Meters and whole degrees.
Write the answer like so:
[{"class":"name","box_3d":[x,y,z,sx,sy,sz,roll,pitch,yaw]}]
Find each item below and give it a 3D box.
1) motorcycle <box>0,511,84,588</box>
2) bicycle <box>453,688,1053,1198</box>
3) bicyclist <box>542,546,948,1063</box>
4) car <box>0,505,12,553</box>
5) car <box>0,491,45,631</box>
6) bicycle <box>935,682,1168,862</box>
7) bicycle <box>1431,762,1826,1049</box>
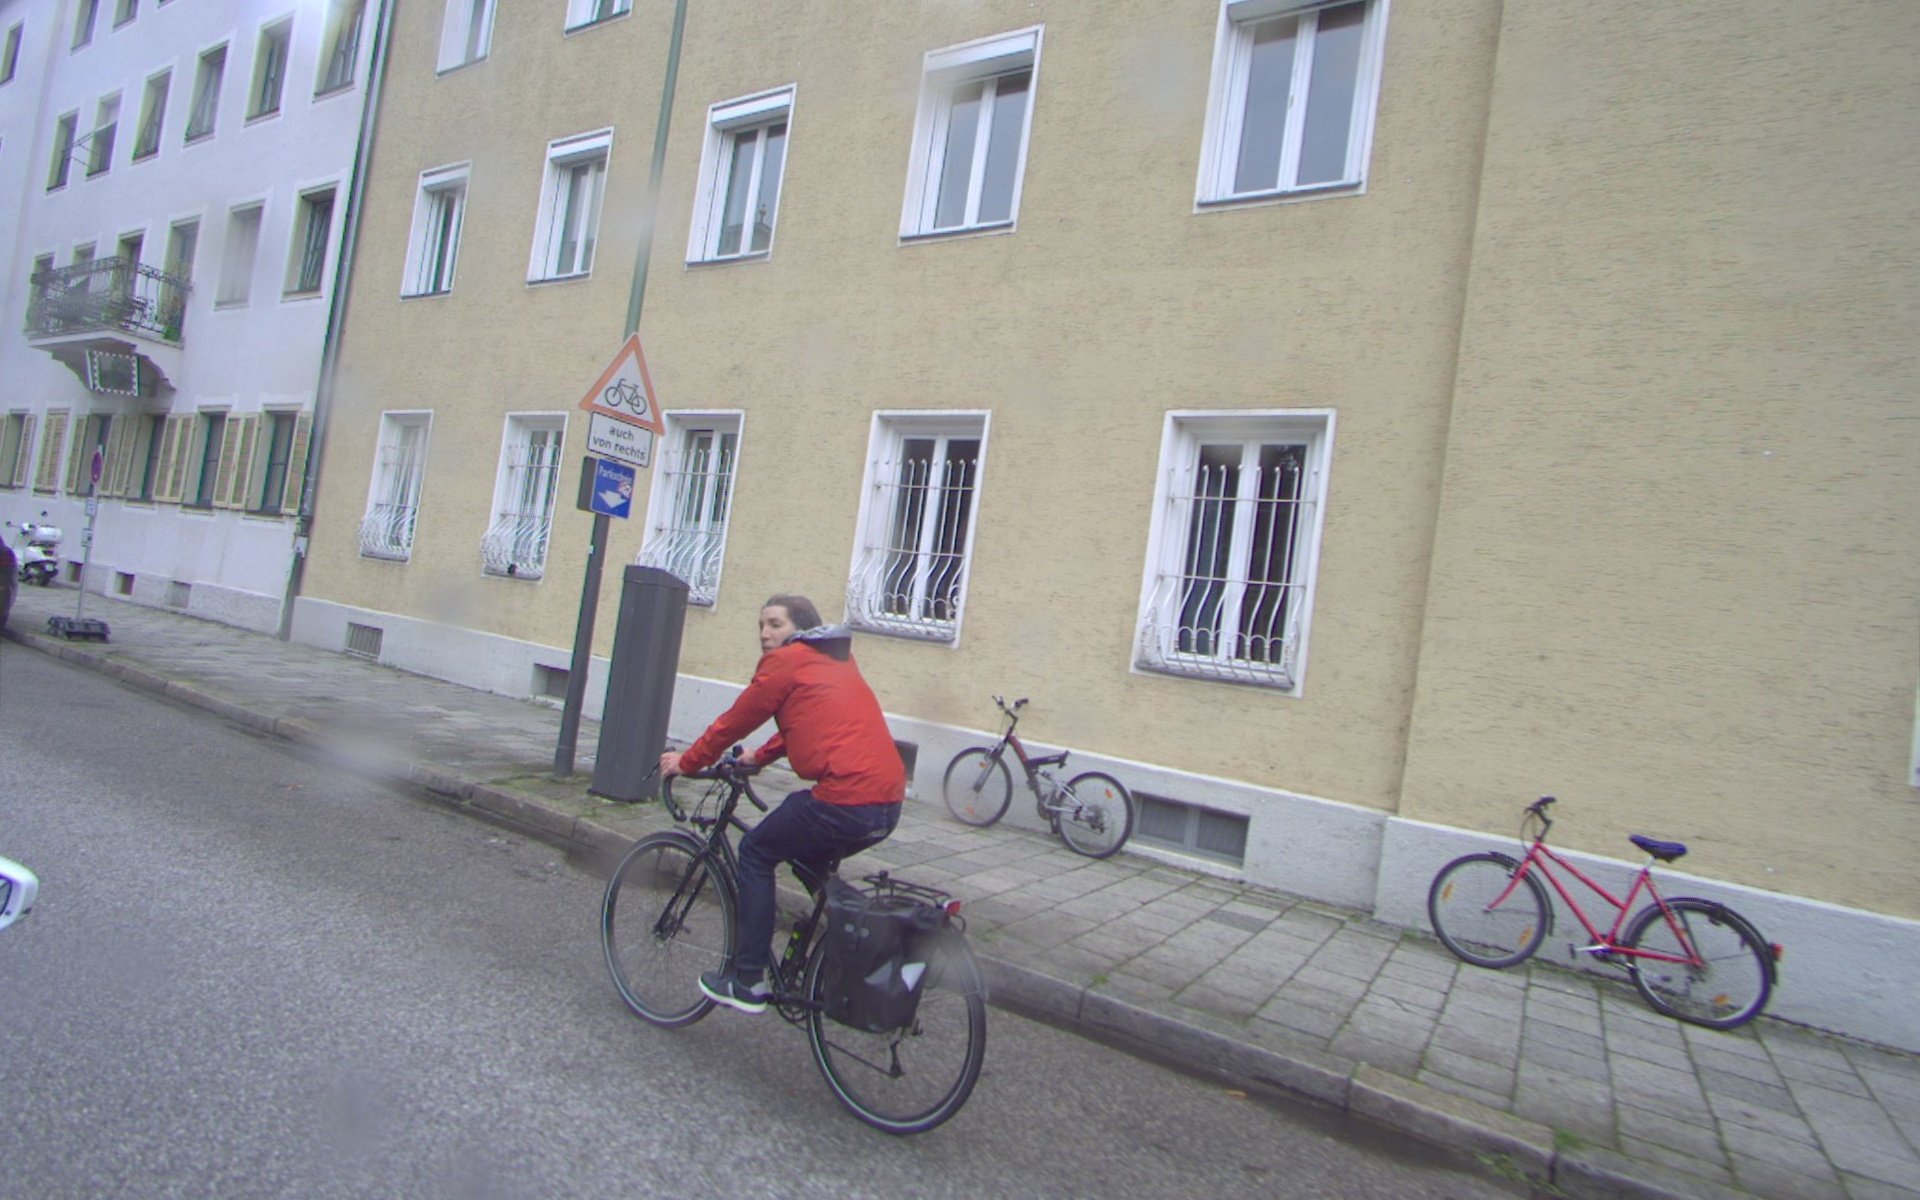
[{"class":"motorcycle","box_3d":[-17.965,-0.984,19.520,1.974,1.252,0.734,6,-4,31]},{"class":"bicycle","box_3d":[-0.779,1.046,3.597,1.976,1.153,0.675,7,-4,28]},{"class":"bicyclist","box_3d":[-0.744,0.652,3.618,0.964,1.498,0.757,7,-4,27]},{"class":"car","box_3d":[-34.318,-2.772,32.536,1.881,1.549,4.917,10,-1,32]},{"class":"car","box_3d":[-13.517,-0.766,12.352,4.816,1.595,1.865,7,-2,30]},{"class":"bicycle","box_3d":[0.693,1.319,8.038,1.783,1.095,0.342,6,0,31]},{"class":"bicycle","box_3d":[3.734,1.665,5.766,1.730,1.148,0.343,7,-2,31]}]
